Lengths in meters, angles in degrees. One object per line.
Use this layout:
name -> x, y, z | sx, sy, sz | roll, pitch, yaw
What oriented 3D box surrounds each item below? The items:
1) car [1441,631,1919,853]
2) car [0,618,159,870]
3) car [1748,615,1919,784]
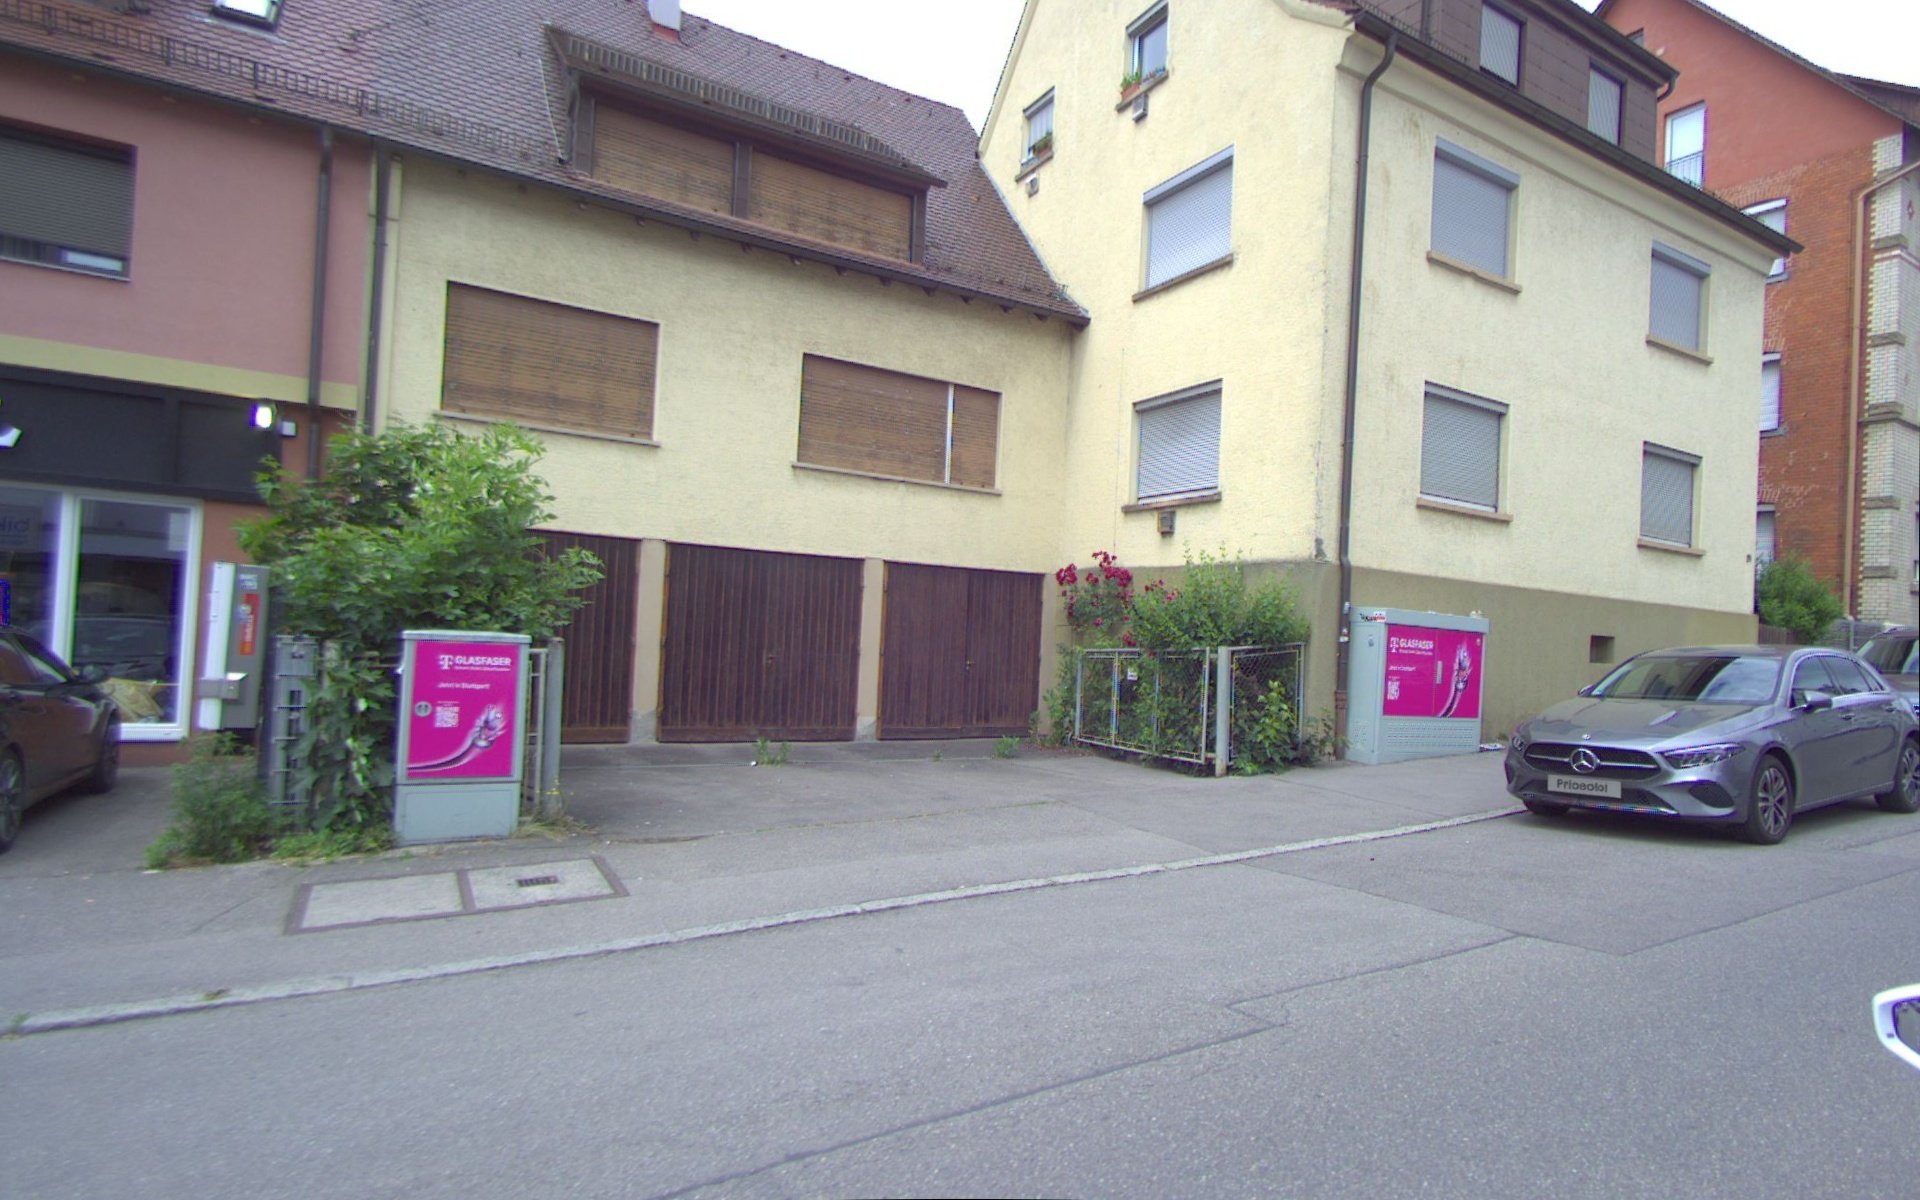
car -> 6.447, 1.054, 8.766 | 4.192, 1.491, 1.986 | 1, -4, -29
car -> -7.342, 0.857, 6.989 | 1.976, 1.491, 4.212 | 3, -3, -28
car -> 11.238, 1.042, 11.504 | 4.501, 1.672, 1.984 | 1, -4, -31
